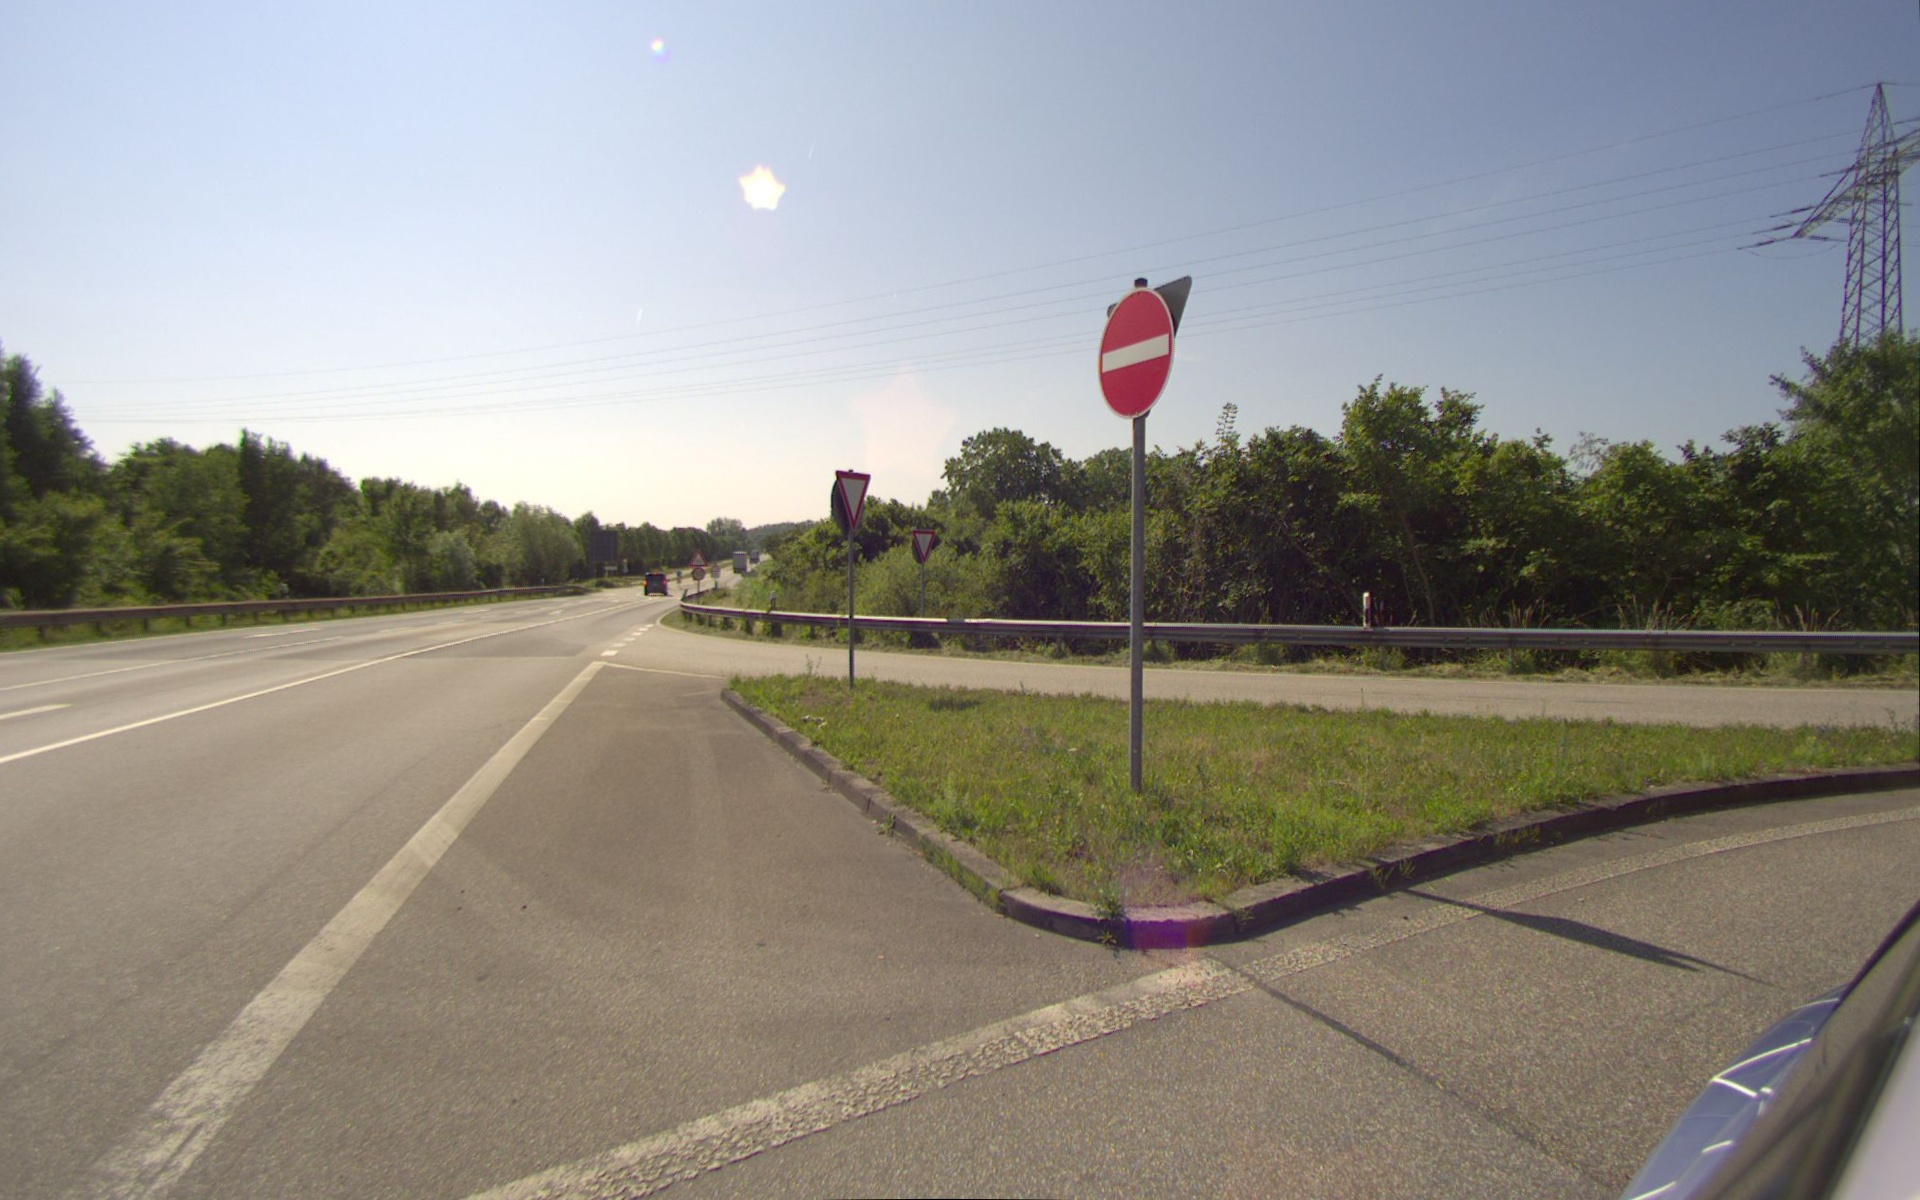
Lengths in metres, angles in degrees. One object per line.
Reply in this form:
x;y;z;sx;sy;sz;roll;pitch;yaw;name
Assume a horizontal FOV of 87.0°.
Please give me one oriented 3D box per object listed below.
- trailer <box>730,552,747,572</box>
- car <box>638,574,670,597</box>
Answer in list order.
-45.721;-7.836;209.020;2.870;4.060;13.442;-1;2;-10;trailer
-25.893;-1.248;85.794;1.959;1.903;5.002;0;0;-10;car
